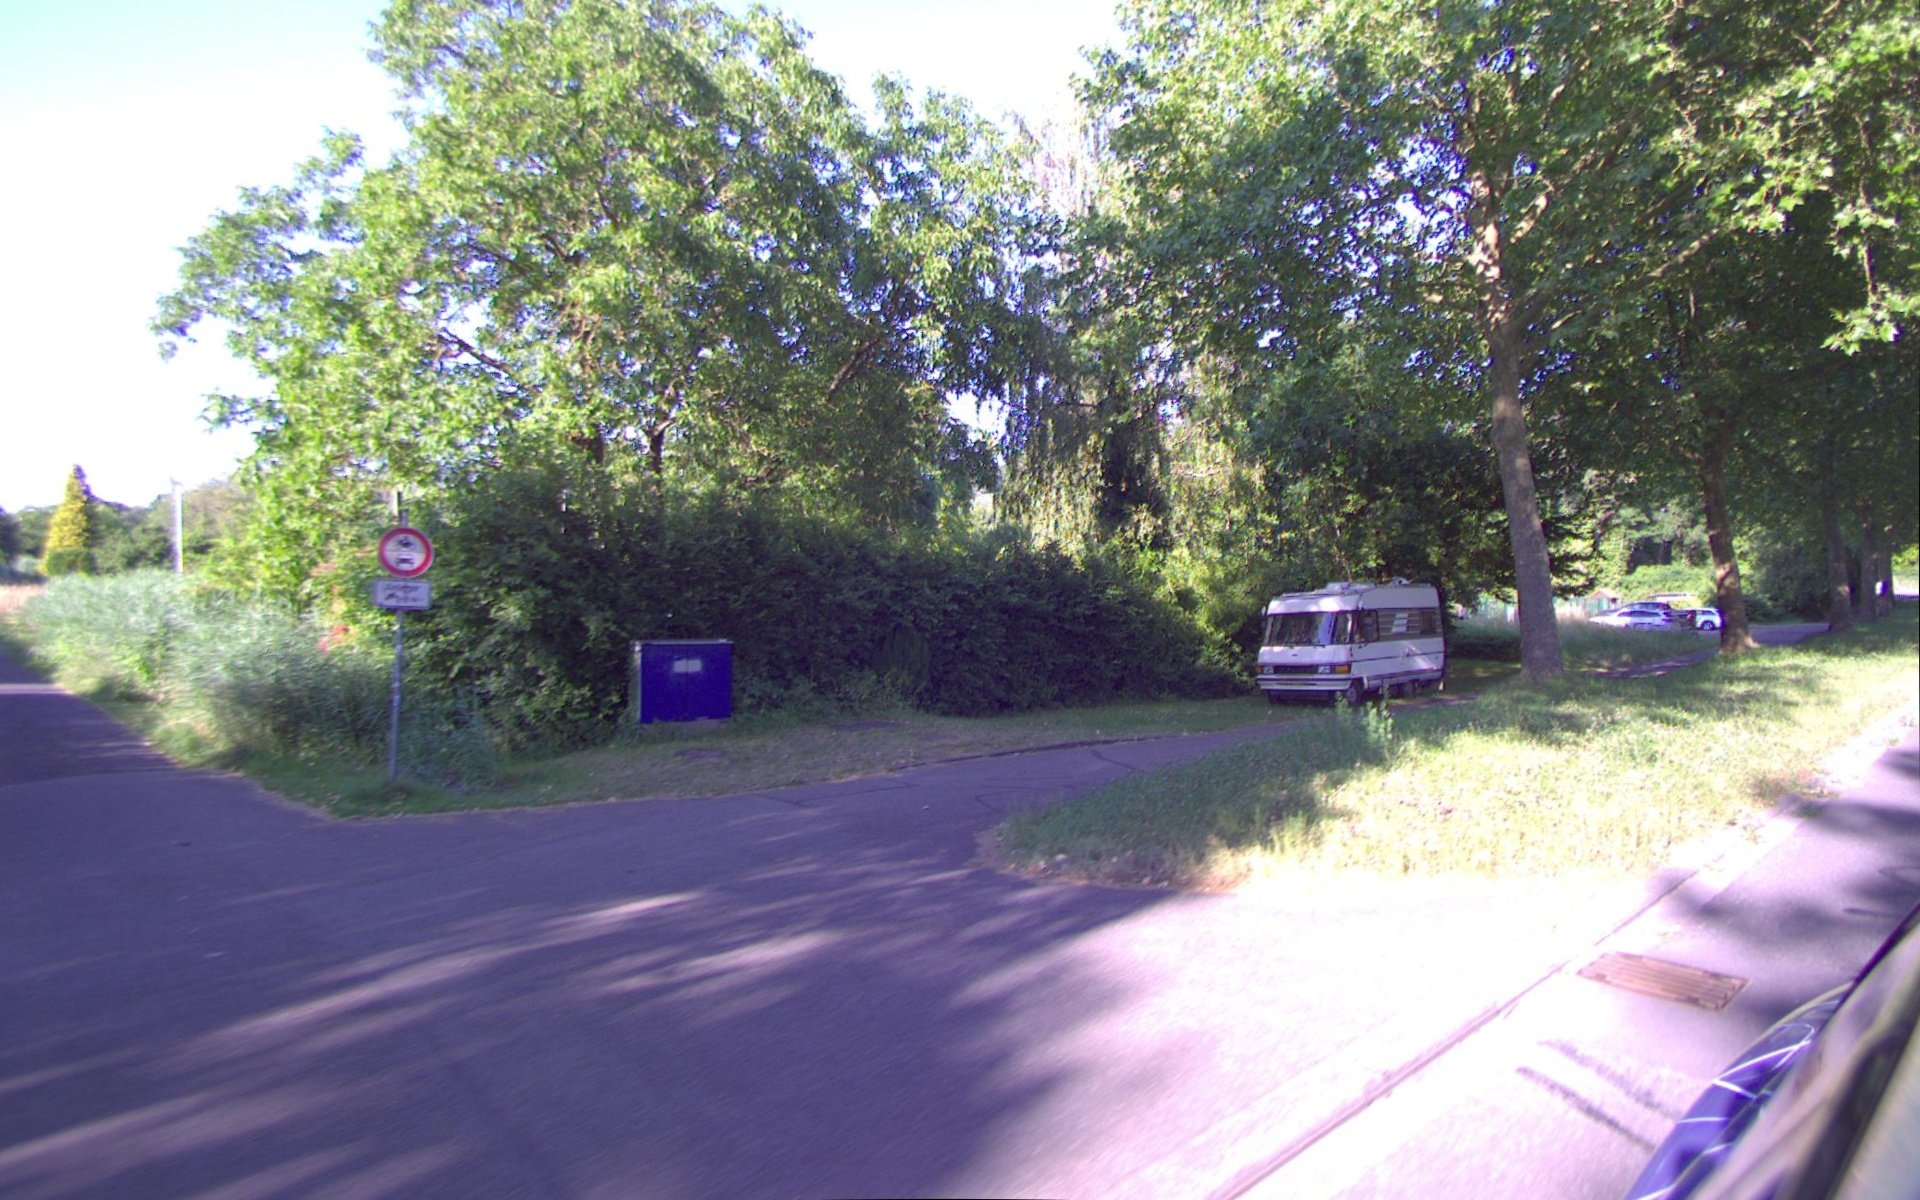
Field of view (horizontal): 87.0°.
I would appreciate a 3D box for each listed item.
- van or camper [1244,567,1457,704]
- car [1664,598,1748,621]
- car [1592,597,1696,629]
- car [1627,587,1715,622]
[{"bbox_3d":[9.226,0.671,23.649,5.588,2.835,2.384,-1,1,-42],"label":"van or camper"},{"bbox_3d":[48.156,0.583,65.389,1.962,1.404,4.000,-1,1,-35],"label":"car"},{"bbox_3d":[38.926,0.679,57.667,1.962,1.691,4.515,-1,1,-35],"label":"car"},{"bbox_3d":[43.289,0.240,61.689,1.962,2.039,4.000,-1,1,-35],"label":"car"}]
